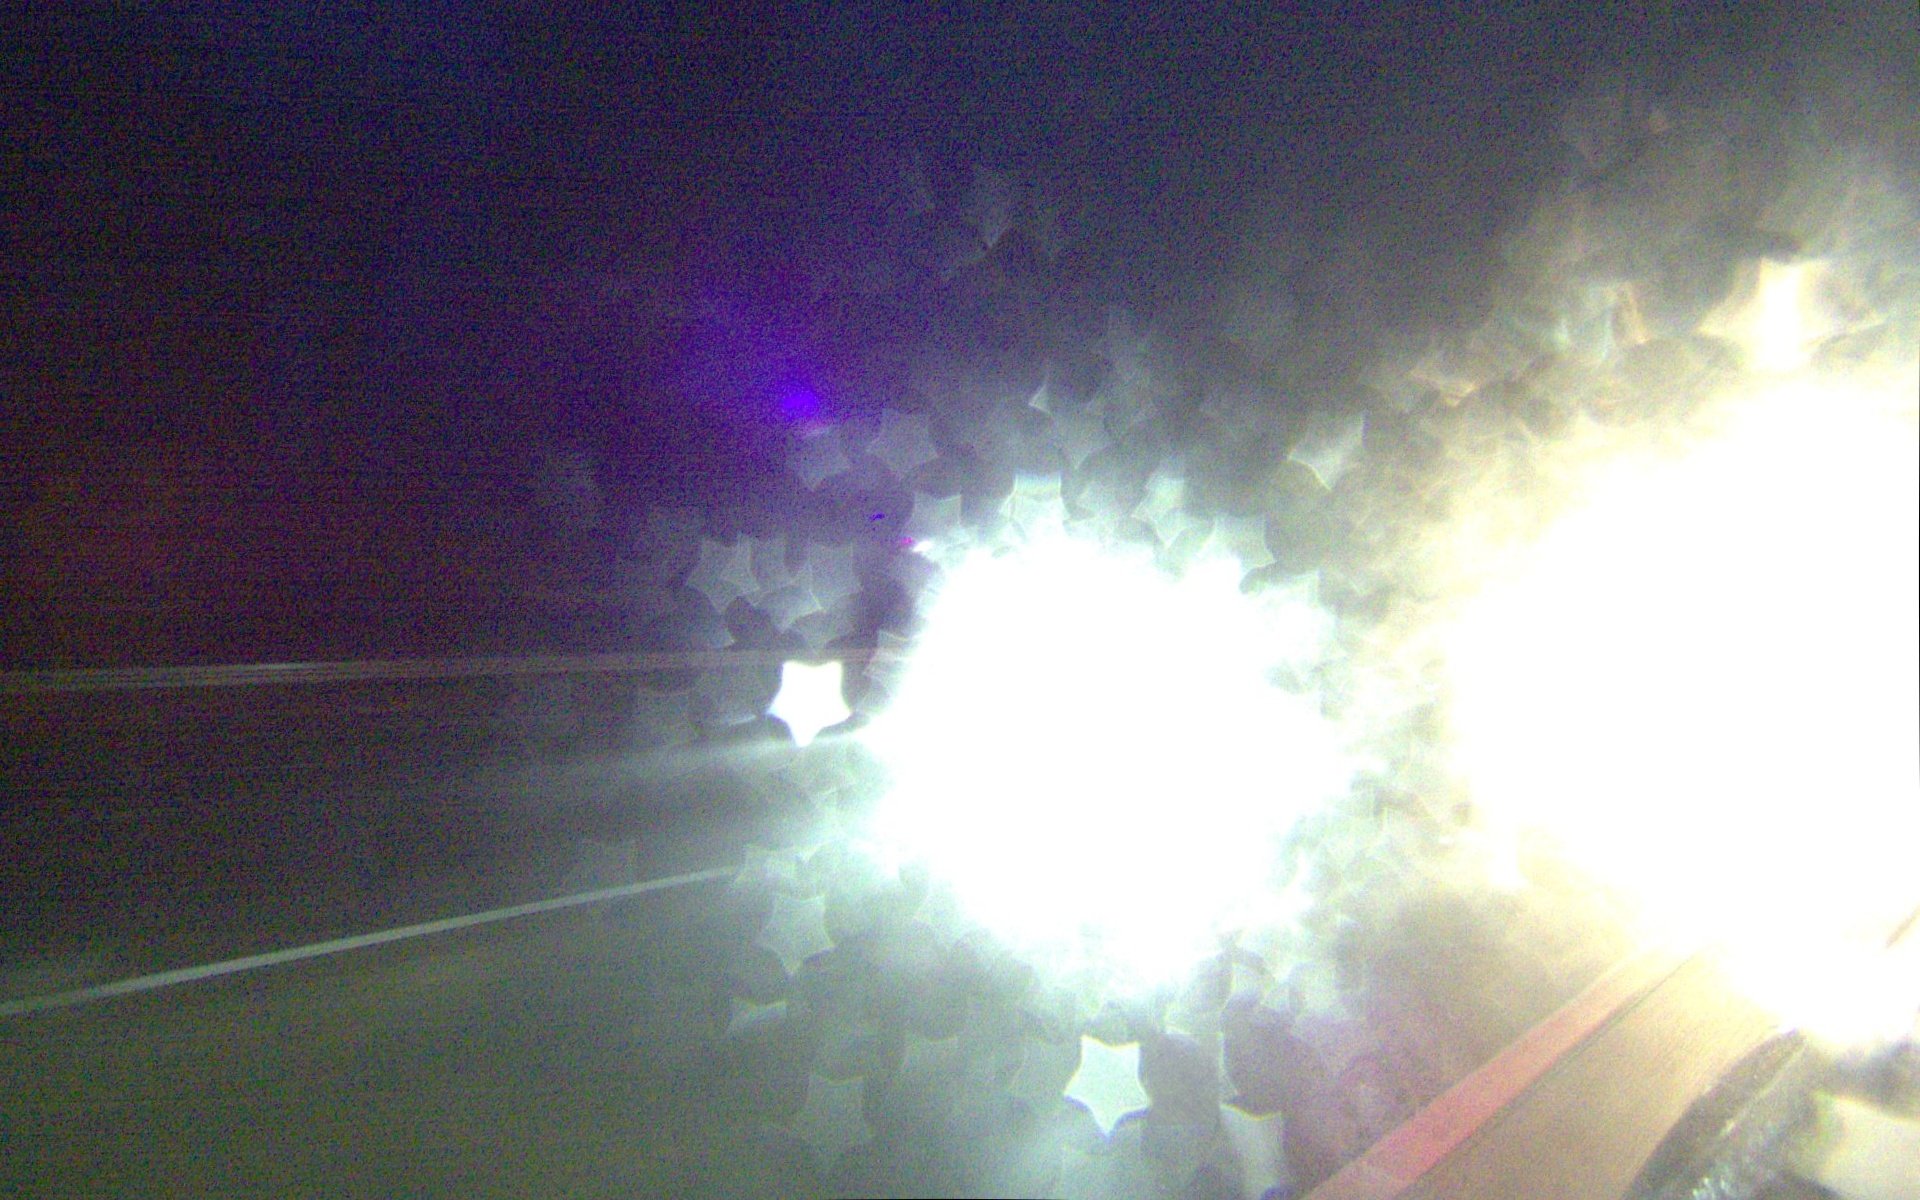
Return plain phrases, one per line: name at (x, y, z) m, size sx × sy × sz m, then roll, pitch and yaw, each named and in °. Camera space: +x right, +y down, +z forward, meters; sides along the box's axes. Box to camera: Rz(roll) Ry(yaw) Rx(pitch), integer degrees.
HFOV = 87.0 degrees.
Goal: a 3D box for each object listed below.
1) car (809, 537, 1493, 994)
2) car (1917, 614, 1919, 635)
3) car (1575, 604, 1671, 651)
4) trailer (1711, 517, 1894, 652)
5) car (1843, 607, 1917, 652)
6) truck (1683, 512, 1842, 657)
car at (1.208, 0.619, 5.556) m, size 3.614 × 1.645 × 1.846 m, roll 0°, pitch -2°, yaw -41°
car at (79.997, 1.931, 82.802) m, size 4.546 × 1.645 × 1.996 m, roll -1°, pitch -2°, yaw -41°
car at (24.832, 1.004, 37.845) m, size 4.045 × 1.610 × 1.917 m, roll -1°, pitch -2°, yaw -41°
trailer at (29.949, -0.463, 35.602) m, size 13.580 × 4.030 × 2.743 m, roll -1°, pitch -2°, yaw -41°
car at (43.388, 1.346, 47.693) m, size 3.928 × 2.039 × 1.997 m, roll 0°, pitch -1°, yaw -39°
truck at (24.457, -0.400, 30.787) m, size 5.108 × 4.020 × 2.779 m, roll 0°, pitch -2°, yaw -41°
